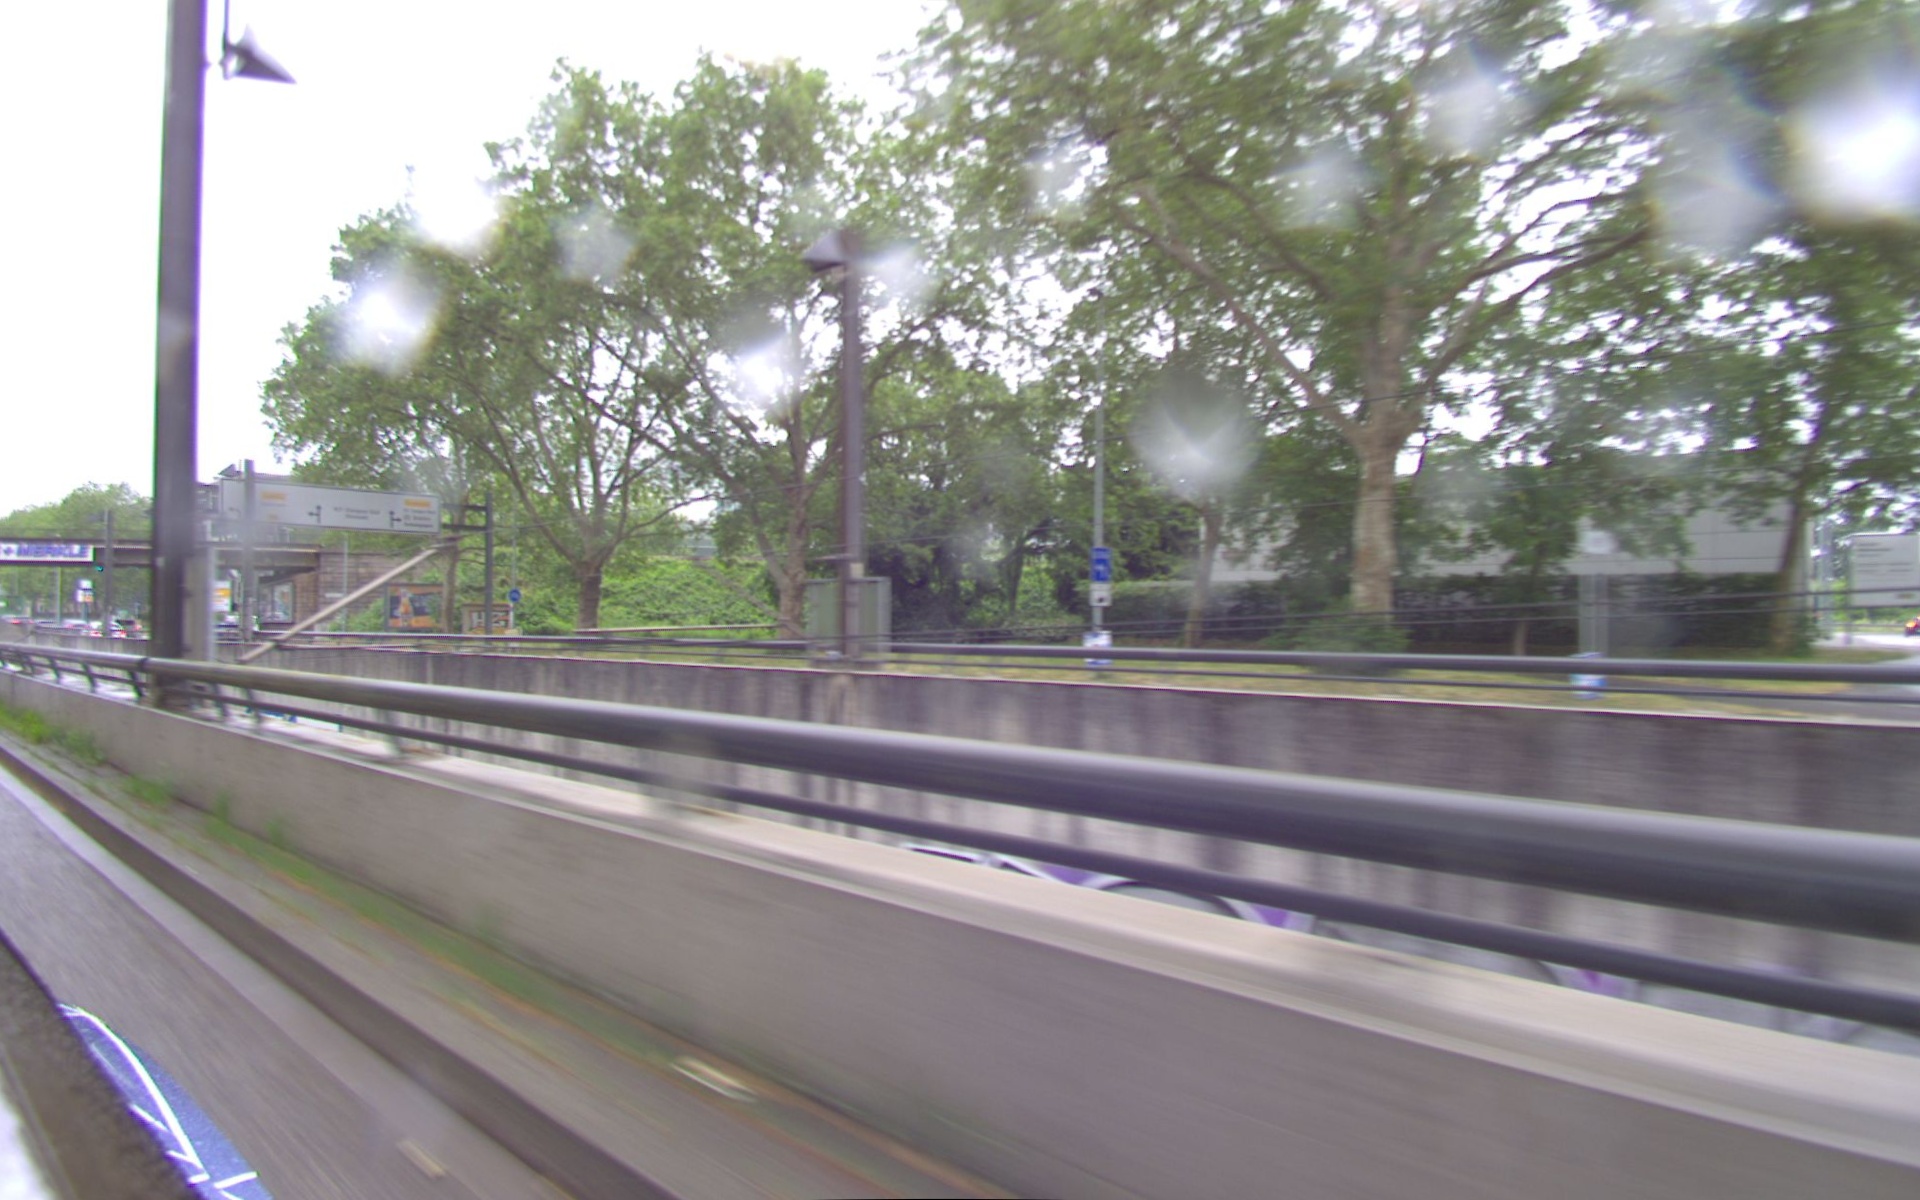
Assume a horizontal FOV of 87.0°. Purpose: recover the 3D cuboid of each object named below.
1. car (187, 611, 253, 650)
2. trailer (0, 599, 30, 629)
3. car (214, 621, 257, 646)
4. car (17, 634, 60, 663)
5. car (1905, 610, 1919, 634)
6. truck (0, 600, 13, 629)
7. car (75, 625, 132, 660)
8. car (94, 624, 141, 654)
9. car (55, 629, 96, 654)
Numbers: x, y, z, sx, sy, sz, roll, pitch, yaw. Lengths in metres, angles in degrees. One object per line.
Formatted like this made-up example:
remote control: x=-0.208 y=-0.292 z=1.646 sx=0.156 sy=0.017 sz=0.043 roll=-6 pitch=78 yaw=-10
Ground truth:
car: x=-40.750 y=1.647 z=55.669 sx=4.508 sy=2.029 sz=1.973 roll=-1 pitch=0 yaw=41
trailer: x=-110.171 y=1.643 z=115.949 sx=11.102 sy=3.284 sz=3.292 roll=-1 pitch=0 yaw=37
car: x=-60.908 y=2.804 z=85.040 sx=4.194 sy=2.029 sz=1.973 roll=-1 pitch=0 yaw=41
car: x=-70.955 y=3.701 z=77.947 sx=3.998 sy=2.029 sz=1.973 roll=-1 pitch=0 yaw=41
car: x=67.759 y=1.501 z=70.797 sx=3.938 sy=1.630 sz=2.003 roll=0 pitch=-2 yaw=-41
truck: x=-115.351 y=1.755 z=119.968 sx=6.512 sy=3.334 sz=3.344 roll=-1 pitch=0 yaw=37
car: x=-52.801 y=2.579 z=62.377 sx=4.613 sy=2.029 sz=1.973 roll=-1 pitch=0 yaw=41
car: x=-61.314 y=2.791 z=73.657 sx=3.998 sy=2.029 sz=1.973 roll=-1 pitch=0 yaw=41
car: x=-75.529 y=3.518 z=86.405 sx=4.508 sy=2.029 sz=1.973 roll=-1 pitch=0 yaw=41
